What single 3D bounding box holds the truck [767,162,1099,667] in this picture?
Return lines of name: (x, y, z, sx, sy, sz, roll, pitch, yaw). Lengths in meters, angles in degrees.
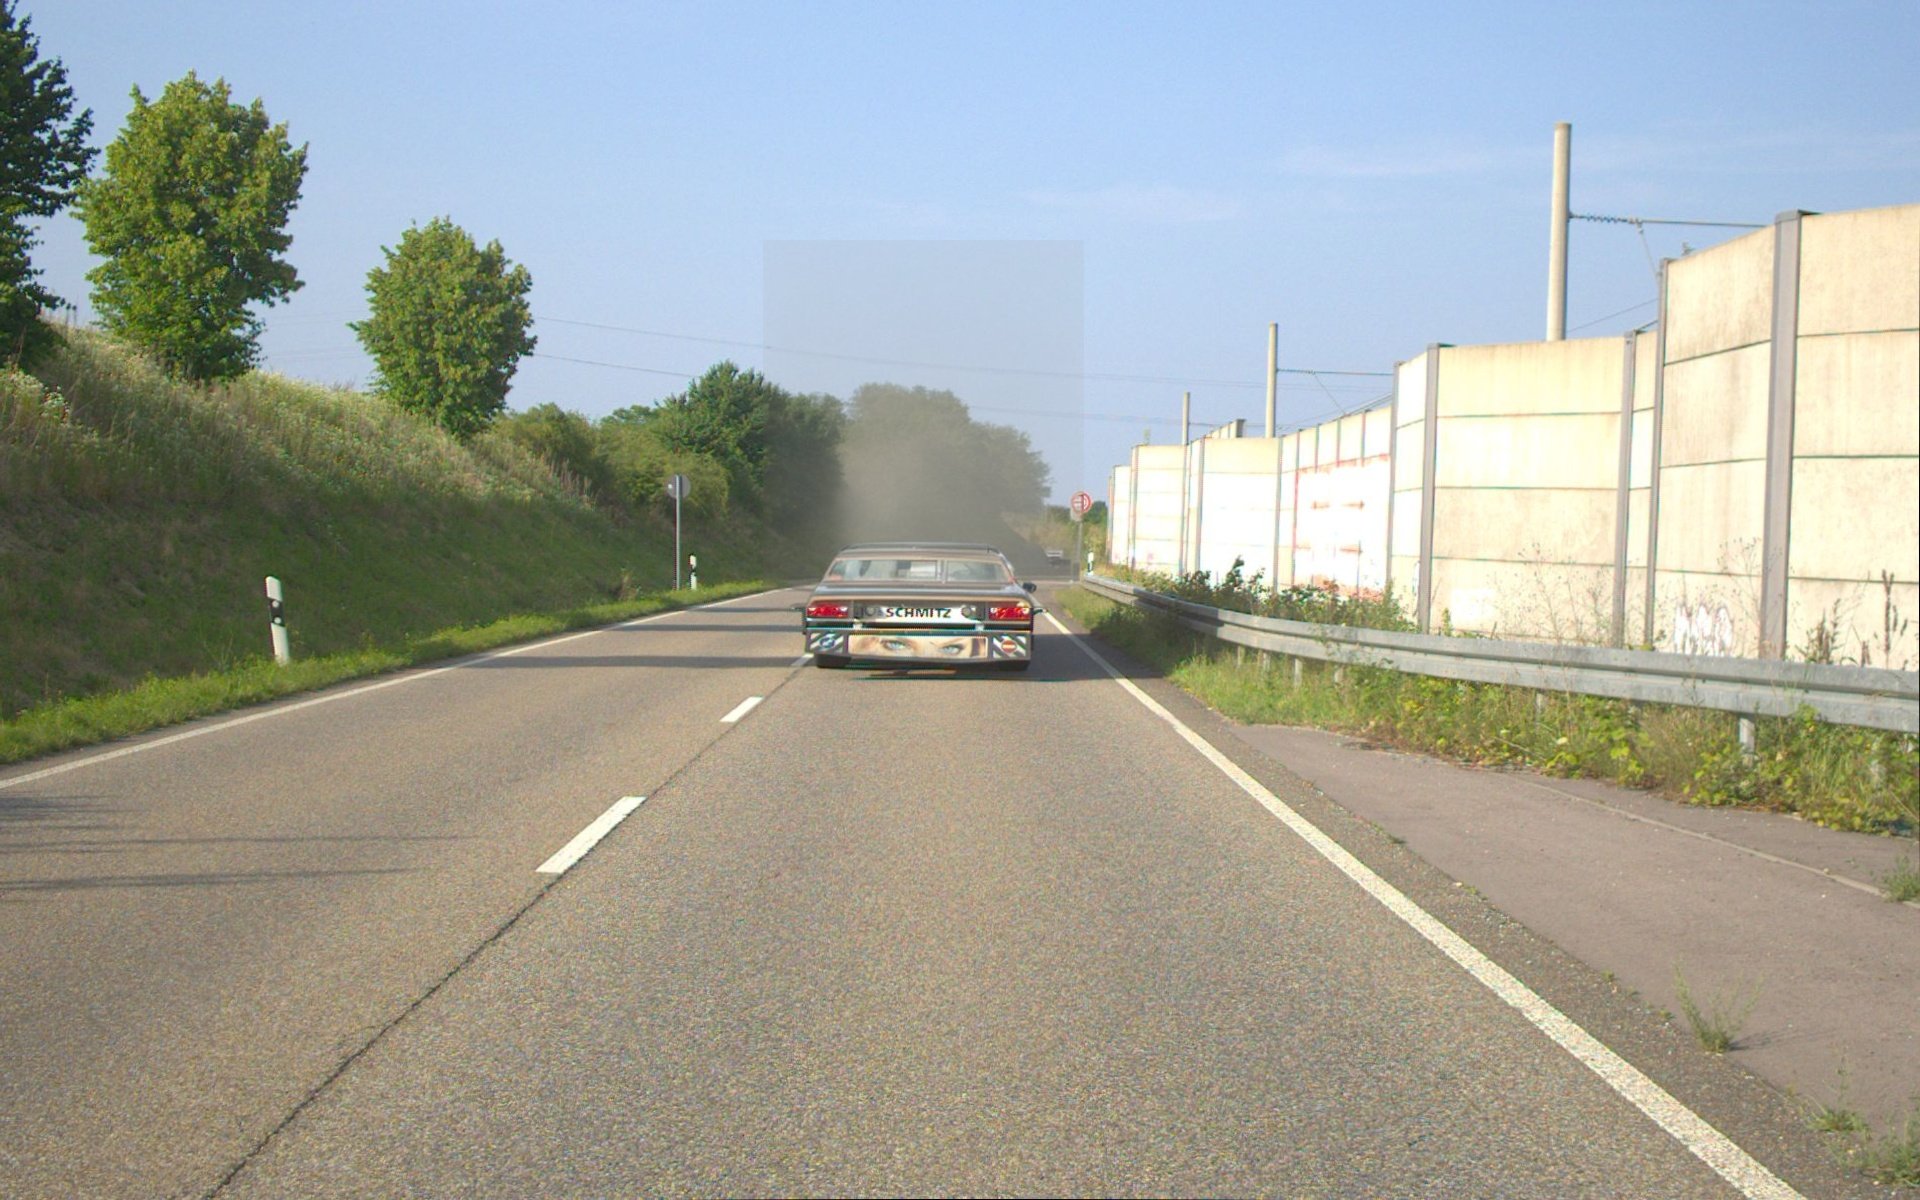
truck: (-0.376, -2.022, 41.025, 3.290, 5.072, 12.039, 1, 1, -1)
